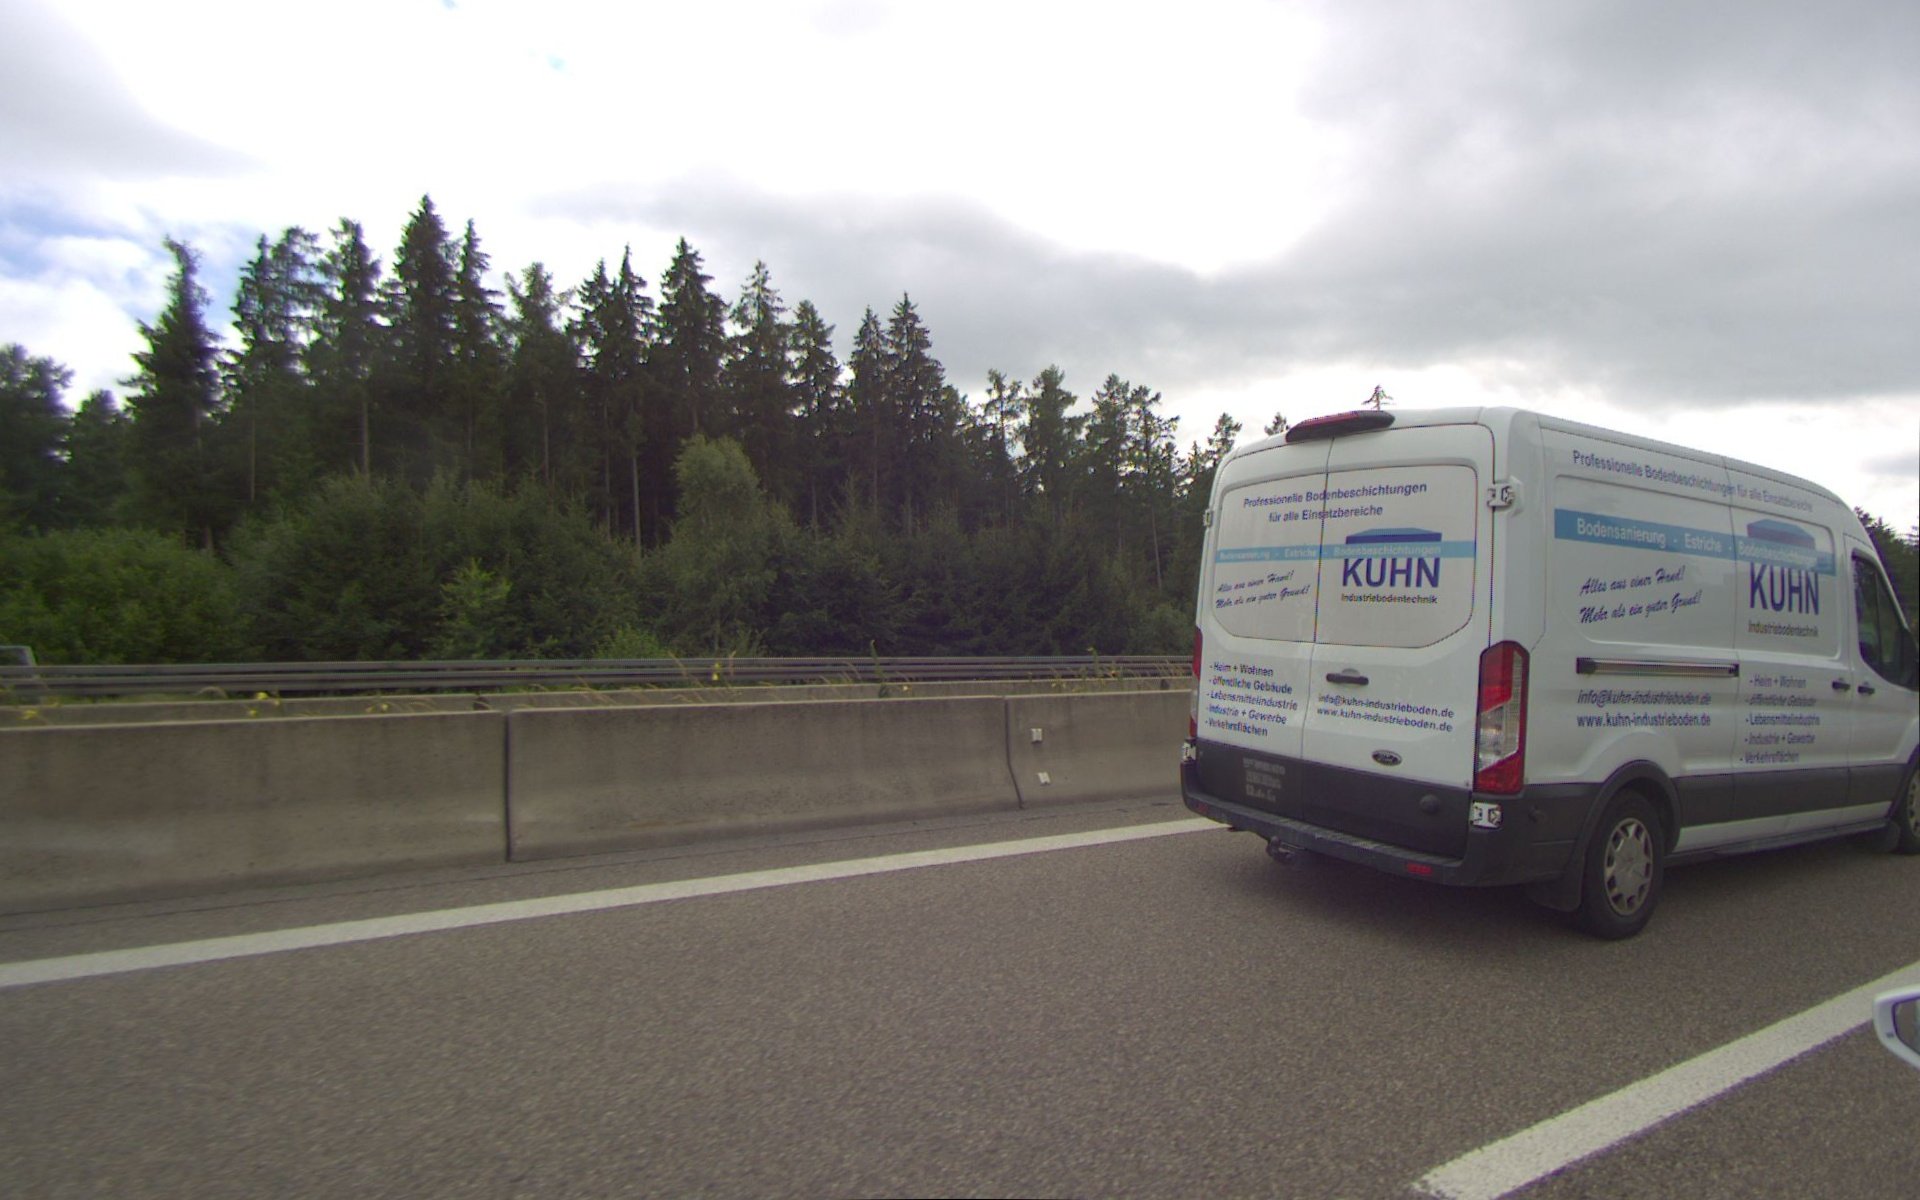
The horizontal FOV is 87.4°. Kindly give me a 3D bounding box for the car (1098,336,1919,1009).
[{"bbox_3d":[4.343,0.343,6.513,7.048,2.540,2.127,1,-1,-31],"label":"car"}]
